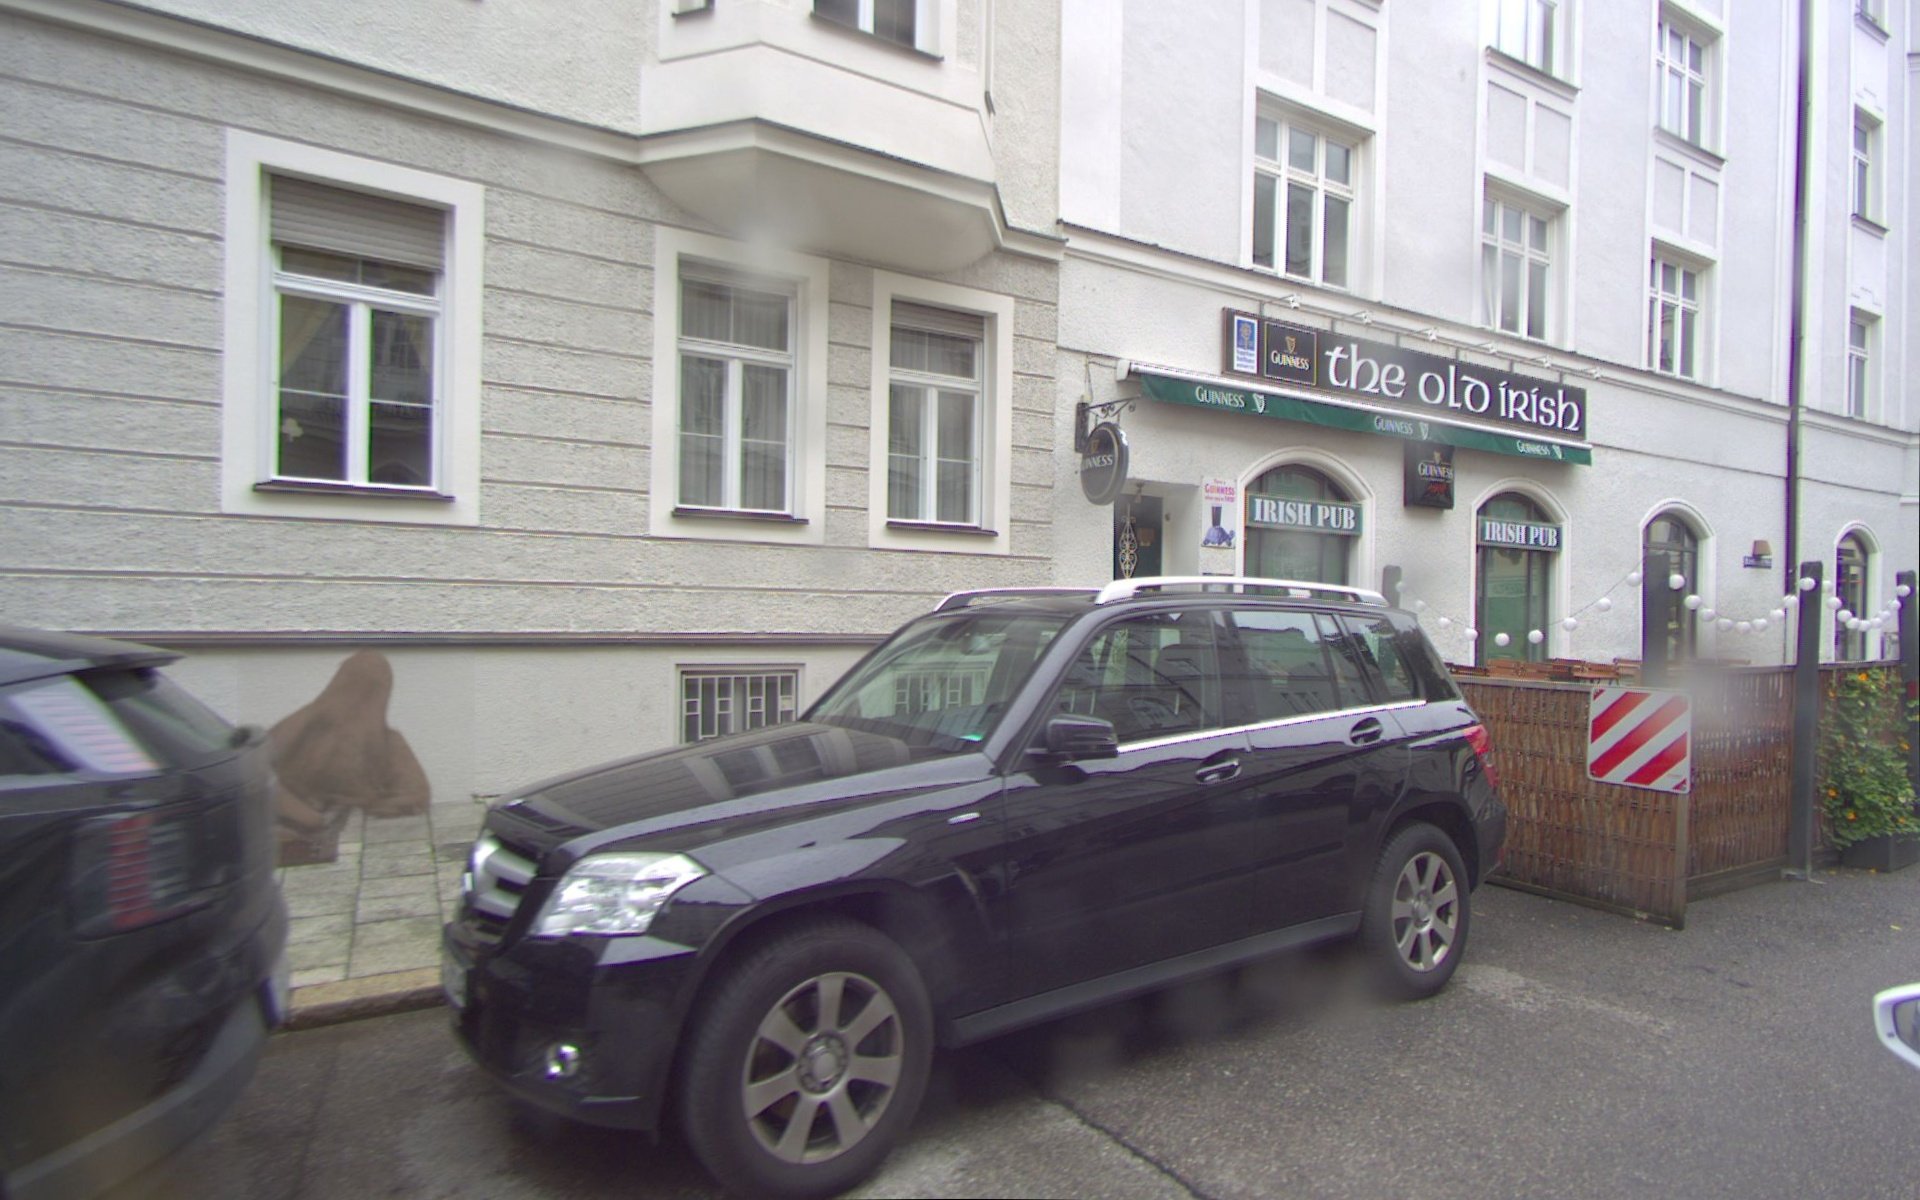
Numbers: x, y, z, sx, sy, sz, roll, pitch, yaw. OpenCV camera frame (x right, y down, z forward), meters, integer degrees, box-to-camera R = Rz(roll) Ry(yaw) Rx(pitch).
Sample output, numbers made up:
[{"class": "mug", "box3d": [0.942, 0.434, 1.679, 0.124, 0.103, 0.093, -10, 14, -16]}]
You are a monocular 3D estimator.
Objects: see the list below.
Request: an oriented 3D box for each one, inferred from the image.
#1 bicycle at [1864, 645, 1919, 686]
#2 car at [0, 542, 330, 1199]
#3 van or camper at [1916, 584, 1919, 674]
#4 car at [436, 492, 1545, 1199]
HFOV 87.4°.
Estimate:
[{"class": "bicycle", "box3d": [23.874, 1.661, 25.266, 1.537, 0.959, 0.897, 3, -1, 33]}, {"class": "car", "box3d": [-3.456, 0.611, 1.593, 4.136, 1.506, 1.732, 1, 0, -33]}, {"class": "van or camper", "box3d": [31.562, 0.945, 28.761, 1.858, 2.712, 5.856, 4, -2, -39]}, {"class": "car", "box3d": [0.363, 0.686, 4.035, 4.230, 1.695, 1.736, 1, -3, -34]}]
